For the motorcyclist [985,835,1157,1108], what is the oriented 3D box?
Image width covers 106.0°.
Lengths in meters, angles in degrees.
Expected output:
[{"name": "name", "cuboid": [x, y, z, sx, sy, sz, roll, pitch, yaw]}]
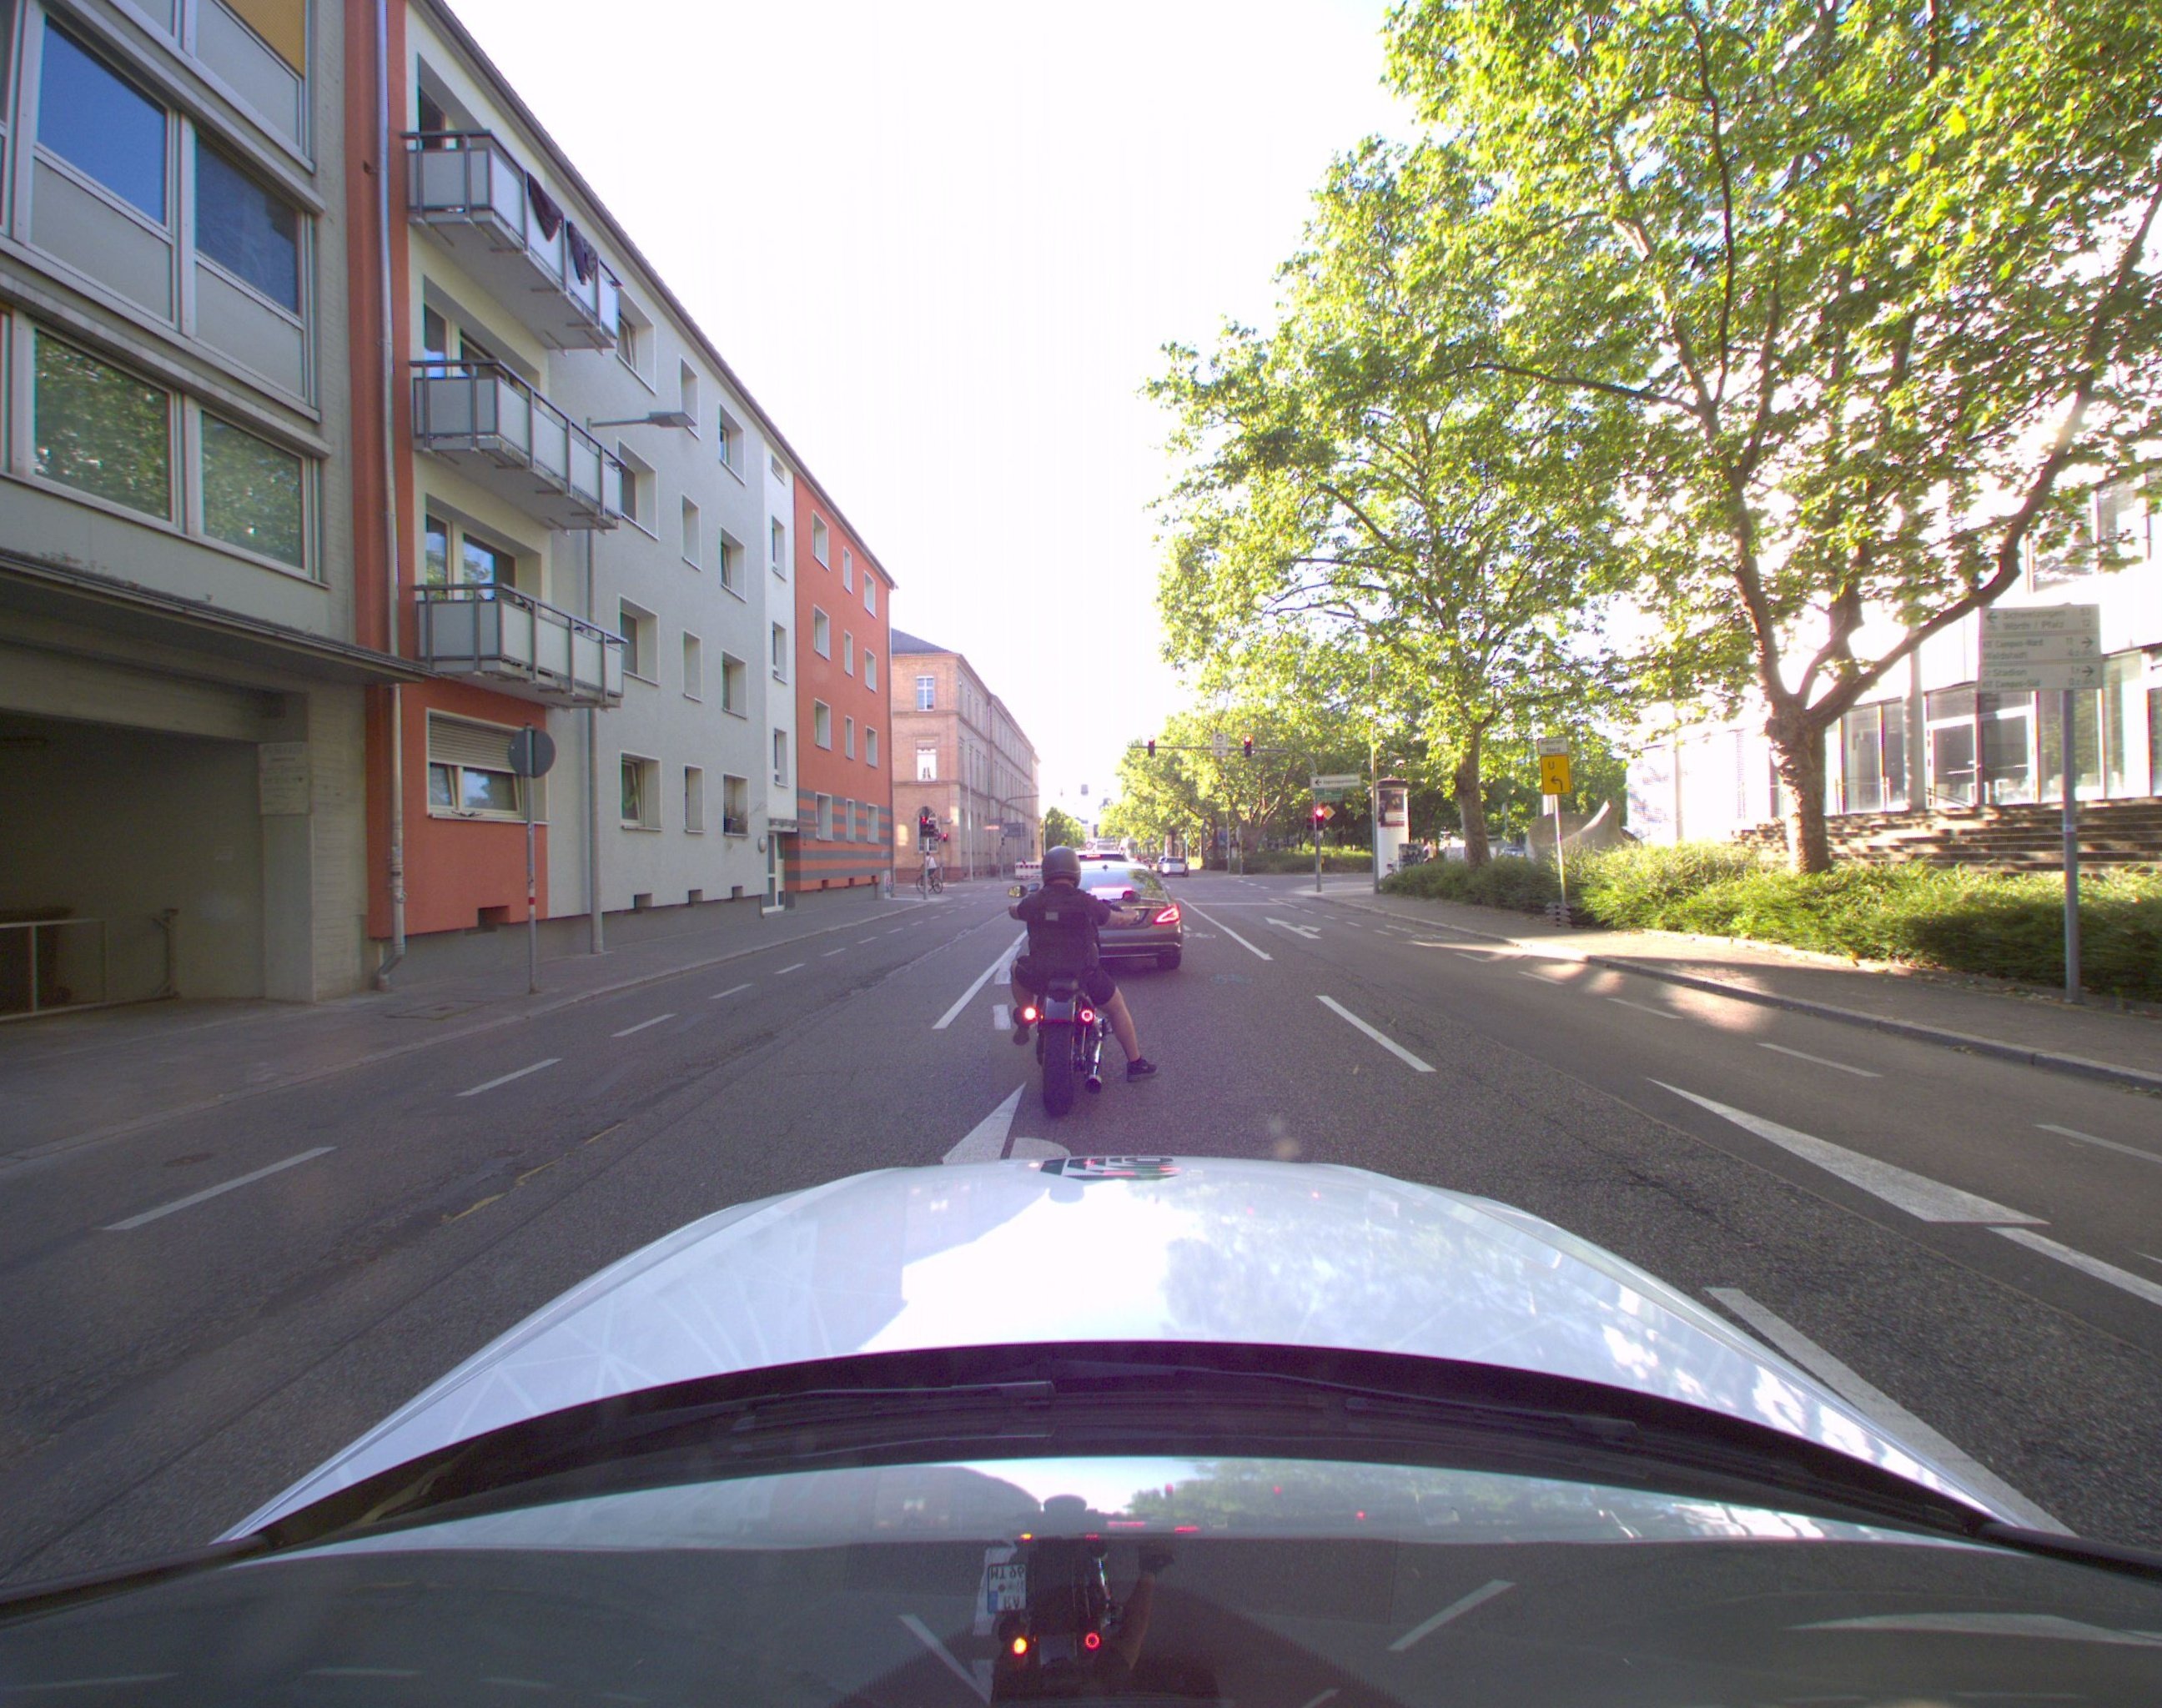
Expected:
[{"name": "motorcyclist", "cuboid": [-0.039, 0.698, 5.525, 0.986, 1.597, 1.404, -1, 0, 2]}]

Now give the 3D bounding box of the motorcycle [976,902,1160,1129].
[{"name": "motorcycle", "cuboid": [-0.031, 0.957, 5.679, 0.986, 1.078, 2.453, -1, 0, 2]}]

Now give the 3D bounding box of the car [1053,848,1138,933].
[{"name": "car", "cuboid": [0.319, 0.705, 17.887, 1.606, 1.607, 4.329, -1, 0, 1]}]

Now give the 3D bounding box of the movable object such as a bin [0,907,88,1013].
[{"name": "movable object such as a bin", "cuboid": [-11.319, 1.112, 8.680, 0.593, 1.041, 0.703, 0, -1, 1]}]

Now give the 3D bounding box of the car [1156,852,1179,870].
[{"name": "car", "cuboid": [7.506, 0.623, 70.723, 1.848, 1.486, 3.912, 0, -1, 3]}]

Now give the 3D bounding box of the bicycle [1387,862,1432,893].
[{"name": "bicycle", "cuboid": [11.033, 0.792, 27.338, 1.346, 1.023, 0.363, -1, 0, 2]}]

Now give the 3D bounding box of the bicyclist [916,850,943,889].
[{"name": "bicyclist", "cuboid": [-6.763, 0.678, 36.364, 0.954, 1.692, 0.708, -1, 0, 15]}]

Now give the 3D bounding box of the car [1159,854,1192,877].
[{"name": "car", "cuboid": [6.673, 0.761, 57.348, 1.808, 1.481, 3.923, -3, 0, 14]}]

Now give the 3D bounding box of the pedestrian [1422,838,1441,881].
[{"name": "pedestrian", "cuboid": [15.125, 0.237, 35.182, 0.549, 1.849, 0.594, -1, 0, 3]}]

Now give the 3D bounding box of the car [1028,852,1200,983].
[{"name": "car", "cuboid": [0.254, 0.742, 11.717, 1.943, 1.473, 4.355, -1, 0, -5]}]

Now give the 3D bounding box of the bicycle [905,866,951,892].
[{"name": "bicycle", "cuboid": [-6.818, 1.113, 36.363, 1.859, 1.103, 0.708, -1, 0, 16]}]
